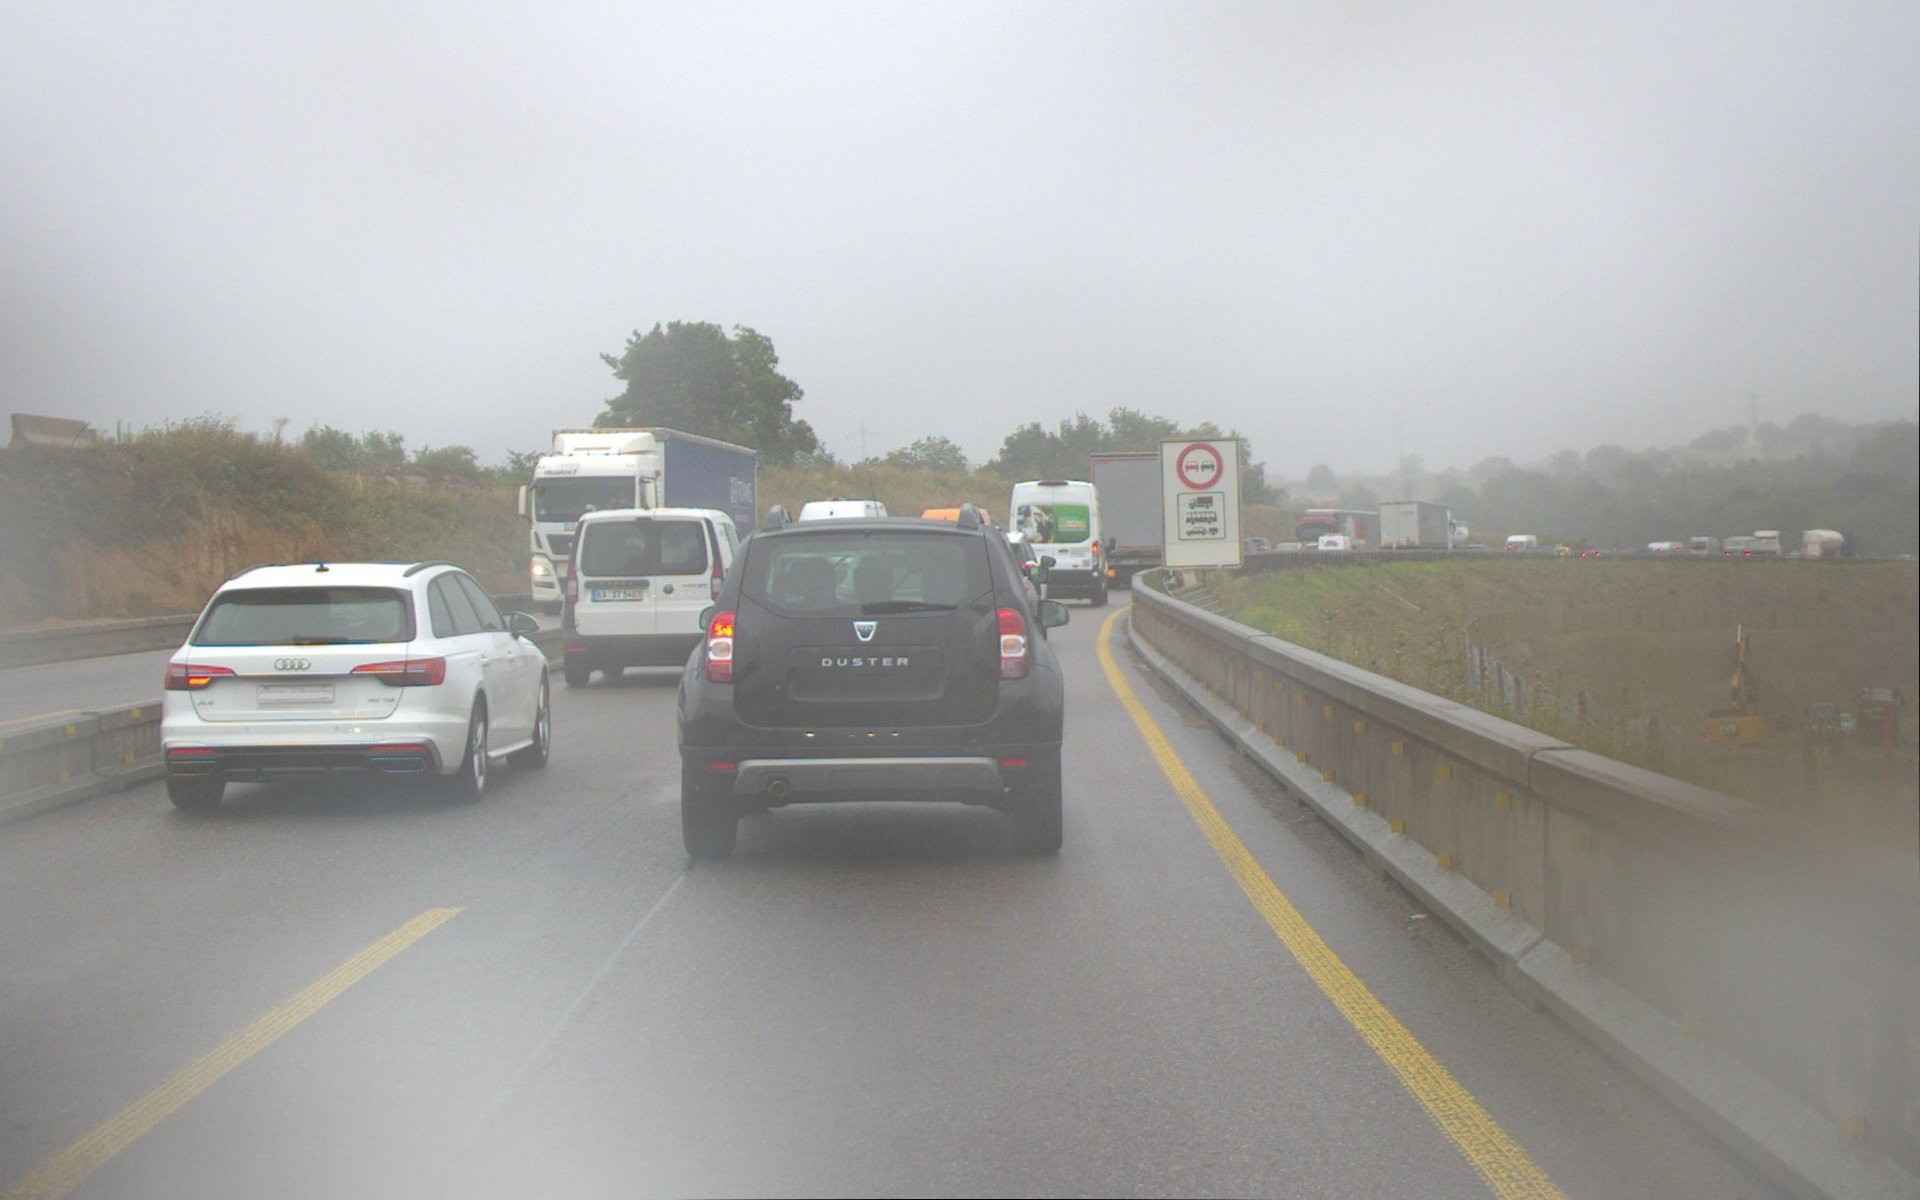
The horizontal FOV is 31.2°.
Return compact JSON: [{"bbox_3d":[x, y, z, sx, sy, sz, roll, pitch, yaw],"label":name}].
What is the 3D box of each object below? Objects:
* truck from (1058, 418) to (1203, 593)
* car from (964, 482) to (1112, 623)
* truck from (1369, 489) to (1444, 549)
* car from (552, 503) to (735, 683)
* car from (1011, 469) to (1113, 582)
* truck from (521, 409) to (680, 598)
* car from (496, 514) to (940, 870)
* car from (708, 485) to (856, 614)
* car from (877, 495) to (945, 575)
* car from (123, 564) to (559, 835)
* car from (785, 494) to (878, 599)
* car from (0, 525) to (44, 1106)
[{"bbox_3d":[5.328,-2.794,105.303,3.545,5.060,10.438,0,0,8],"label":"truck"},{"bbox_3d":[1.091,-0.627,46.269,1.826,1.809,4.000,0,0,4],"label":"car"},{"bbox_3d":[28.996,-5.270,222.887,3.475,3.702,8.411,-1,1,16],"label":"truck"},{"bbox_3d":[-3.316,-0.092,36.642,1.826,1.809,4.001,0,0,-4],"label":"car"},{"bbox_3d":[2.294,-1.619,76.366,1.827,2.429,4.156,0,0,8],"label":"car"},{"bbox_3d":[-7.899,-2.156,76.174,2.788,4.021,5.820,0,2,1],"label":"truck"},{"bbox_3d":[-1.093,0.396,17.346,1.826,1.585,4.000,0,0,2],"label":"car"},{"bbox_3d":[-2.561,-0.724,50.213,1.826,1.809,4.000,0,0,2],"label":"car"},{"bbox_3d":[-1.563,-2.163,113.006,2.054,2.568,7.021,0,2,1],"label":"car"},{"bbox_3d":[-3.647,0.534,20.954,1.826,1.494,4.000,0,0,2],"label":"car"},{"bbox_3d":[-3.337,-1.457,90.311,2.006,2.644,6.885,0,2,1],"label":"car"},{"bbox_3d":[-3.305,0.672,6.273,1.735,1.457,5.630,-1,3,0],"label":"car"}]
